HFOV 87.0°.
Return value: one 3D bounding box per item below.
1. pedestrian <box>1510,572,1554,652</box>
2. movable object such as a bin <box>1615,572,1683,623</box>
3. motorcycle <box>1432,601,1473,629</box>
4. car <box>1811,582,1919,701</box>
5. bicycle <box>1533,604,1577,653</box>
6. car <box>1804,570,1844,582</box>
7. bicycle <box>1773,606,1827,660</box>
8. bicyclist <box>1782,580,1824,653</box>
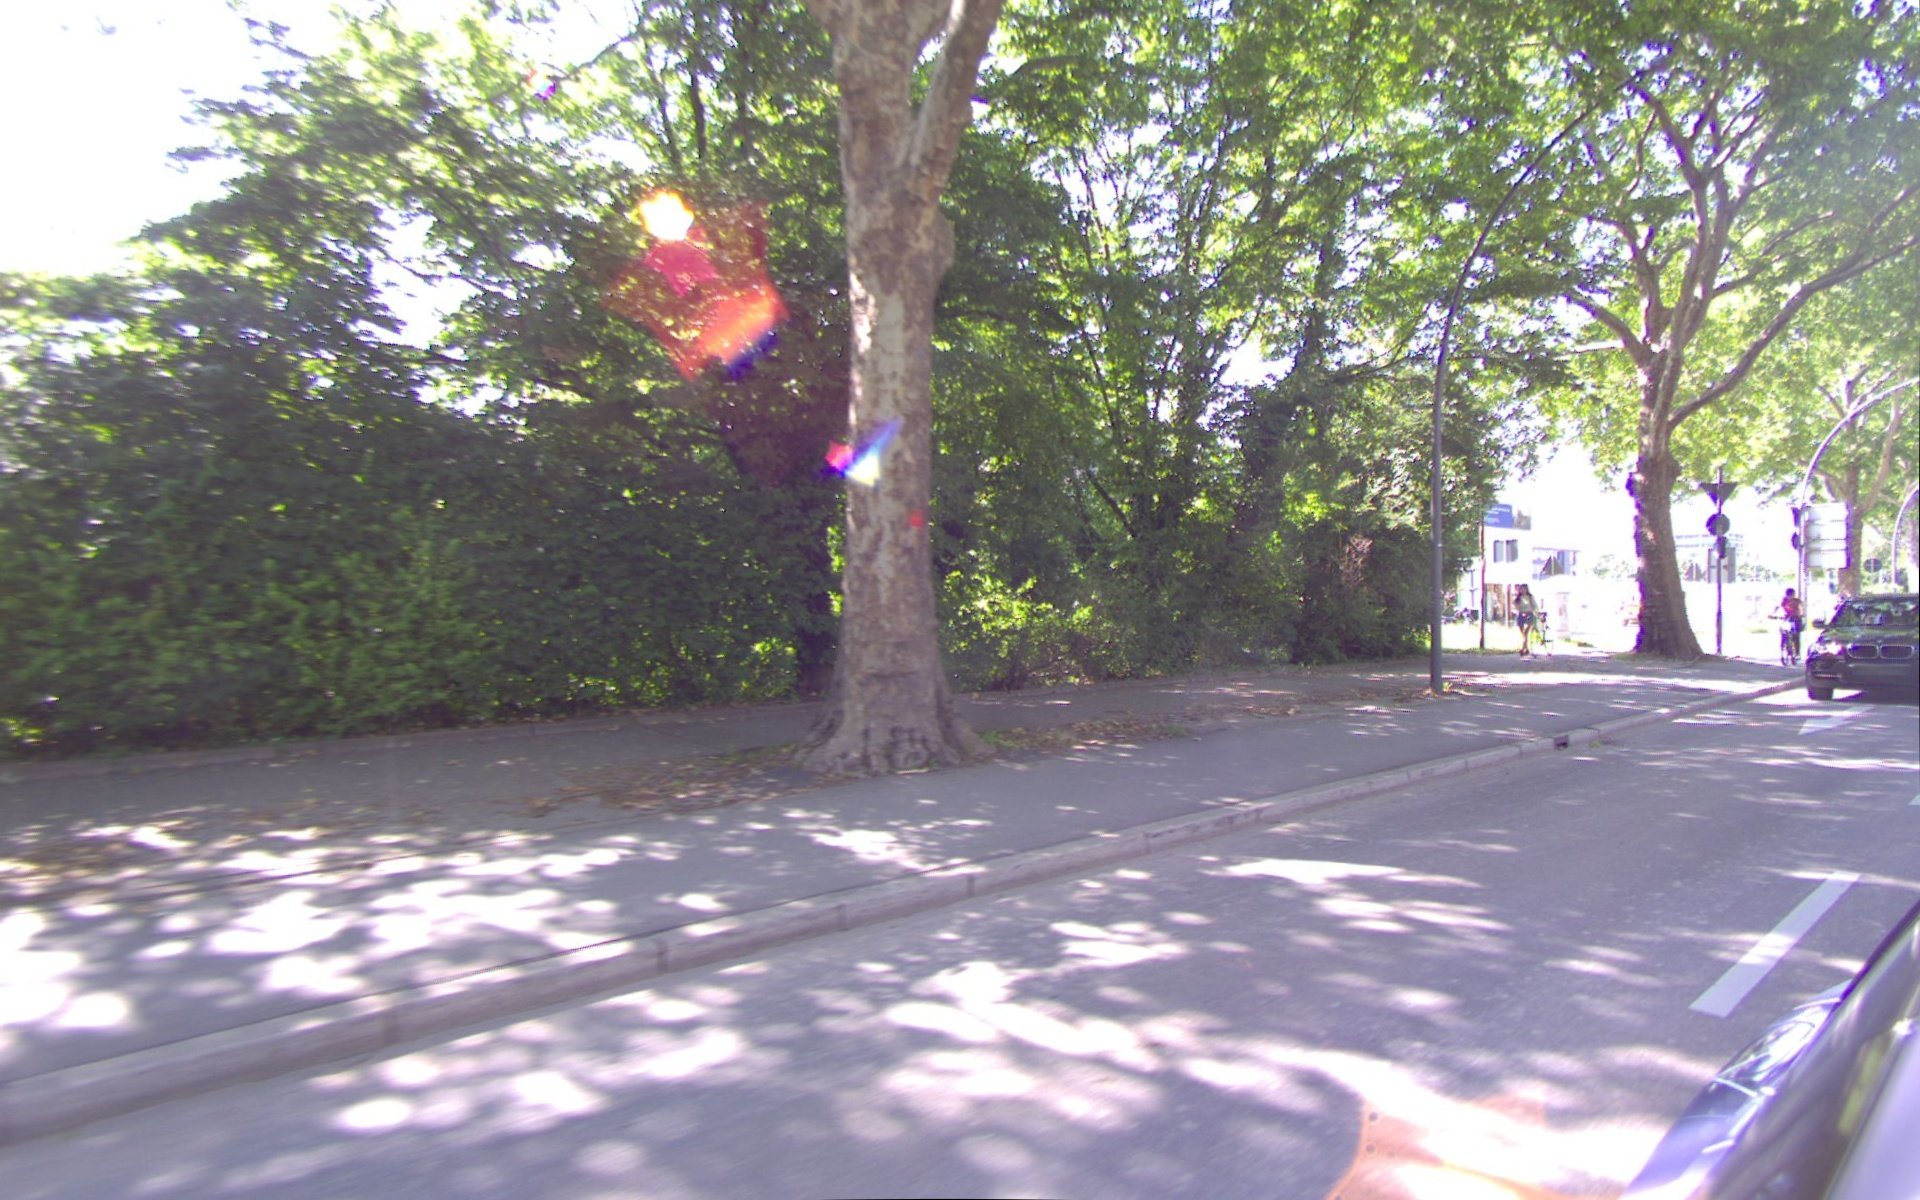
[{"bbox_3d":[13.247,0.270,23.436,0.859,1.808,0.633,0,-1,-40],"label":"pedestrian"},{"bbox_3d":[44.148,-0.144,64.769,5.885,3.111,2.371,0,-1,-43],"label":"movable object such as a bin"},{"bbox_3d":[17.324,0.517,35.604,1.219,0.980,0.464,0,-1,44],"label":"motorcycle"},{"bbox_3d":[15.488,0.604,16.407,4.078,1.752,1.923,0,-1,-40],"label":"car"},{"bbox_3d":[13.733,0.642,23.350,1.669,1.095,0.350,0,-1,-41],"label":"bicycle"},{"bbox_3d":[118.373,-3.272,138.734,1.778,1.529,3.991,0,0,-43],"label":"car"},{"bbox_3d":[19.320,0.738,23.265,1.911,1.143,0.652,0,1,-41],"label":"bicycle"},{"bbox_3d":[19.387,0.369,23.278,0.720,1.620,0.621,1,1,-42],"label":"bicyclist"}]
